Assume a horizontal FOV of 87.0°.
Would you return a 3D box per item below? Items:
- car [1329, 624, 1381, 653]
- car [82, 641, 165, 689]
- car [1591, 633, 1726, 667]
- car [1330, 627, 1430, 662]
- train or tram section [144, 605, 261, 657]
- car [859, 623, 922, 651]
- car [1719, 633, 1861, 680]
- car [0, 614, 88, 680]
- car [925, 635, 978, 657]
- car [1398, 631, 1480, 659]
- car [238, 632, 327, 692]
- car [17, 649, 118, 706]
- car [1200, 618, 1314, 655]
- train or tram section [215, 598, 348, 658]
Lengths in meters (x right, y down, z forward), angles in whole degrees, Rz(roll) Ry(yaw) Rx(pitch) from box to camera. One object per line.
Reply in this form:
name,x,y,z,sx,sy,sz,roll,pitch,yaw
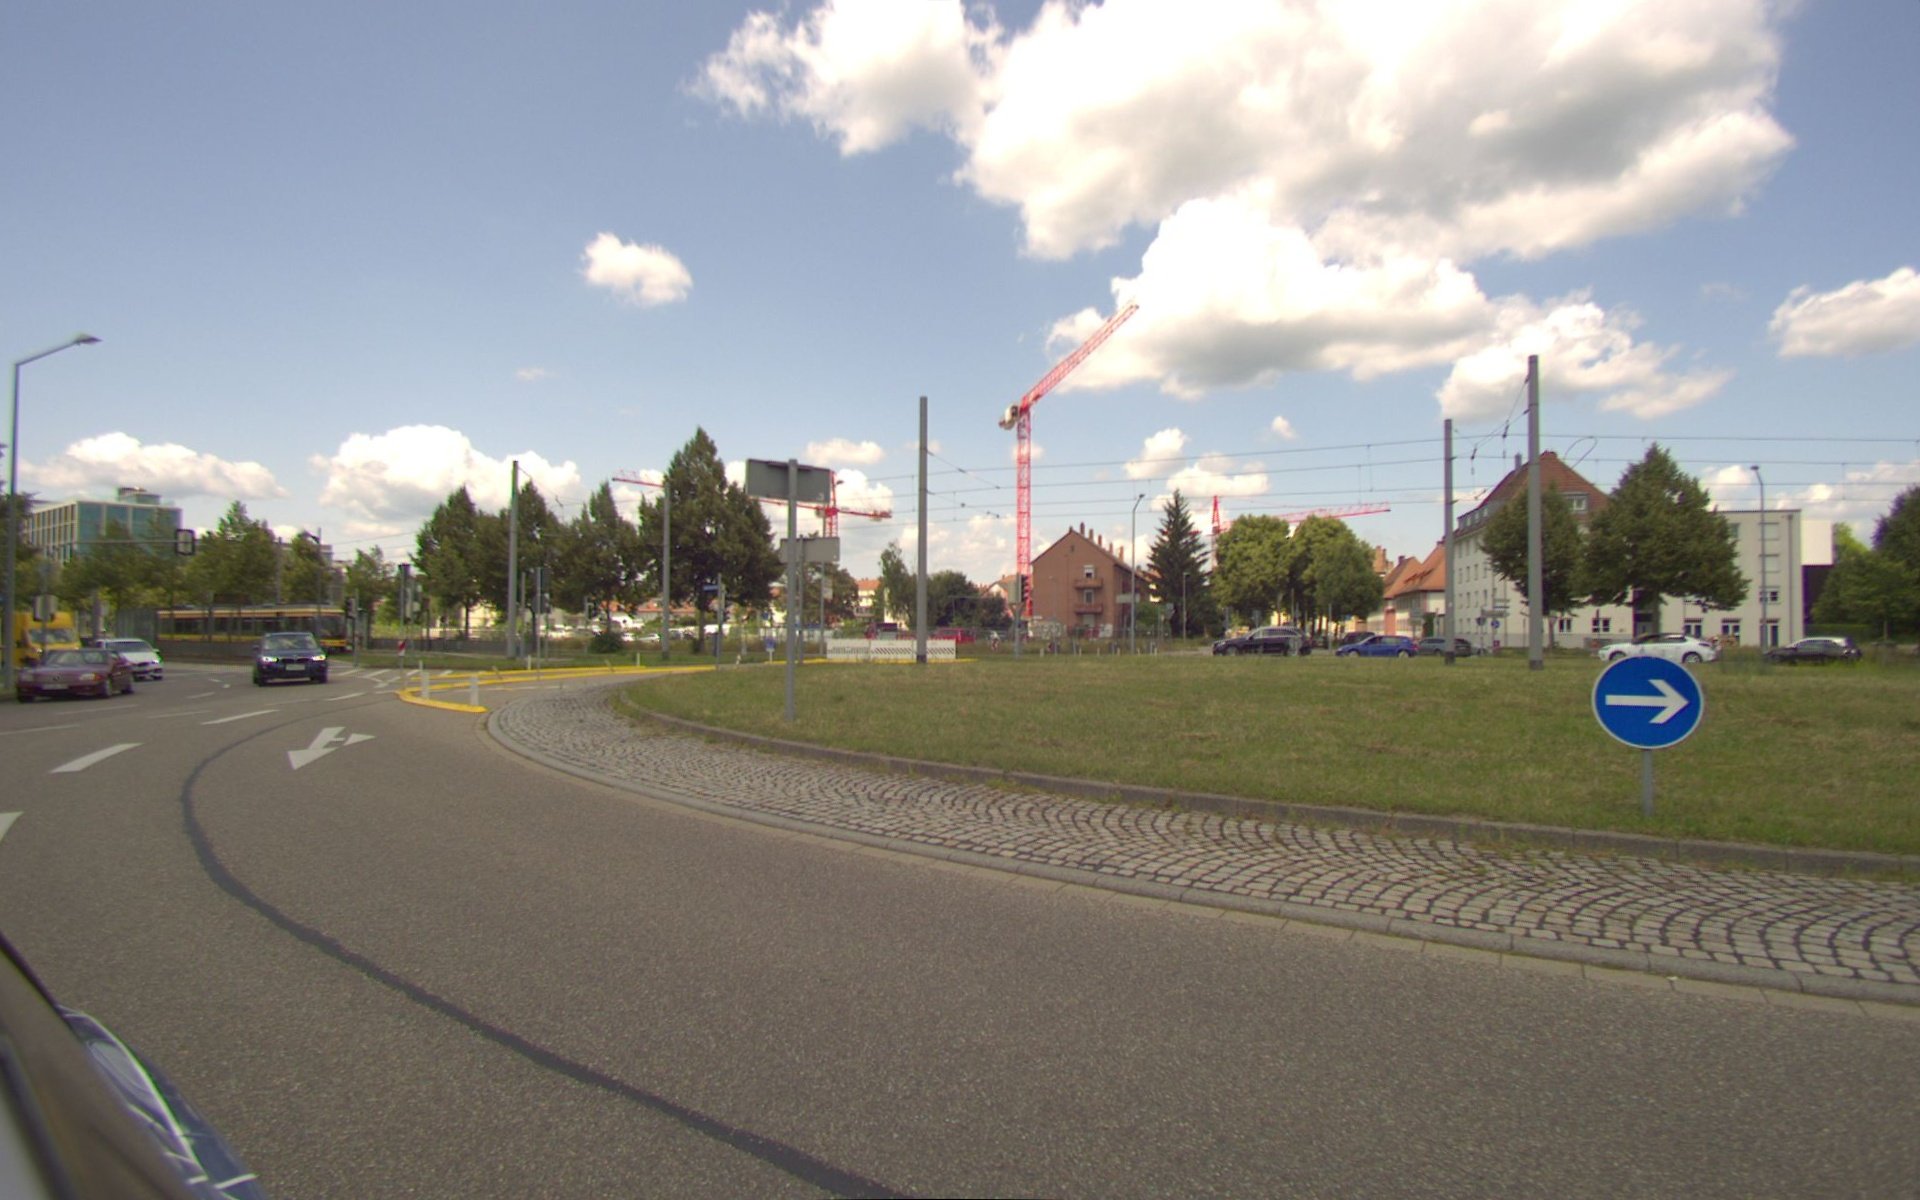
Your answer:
car,29.603,2.877,75.960,1.972,2.029,4.724,-1,-2,0
car,-31.430,2.391,37.996,4.124,1.611,1.653,-2,-1,40
car,29.101,2.067,42.231,1.970,1.339,4.315,1,-3,-44
car,22.744,2.425,54.980,4.680,1.805,1.840,-1,-2,14
train or tram section,-57.468,2.399,76.552,14.630,3.666,2.663,-2,-2,35
car,-5.814,3.089,83.835,2.354,2.214,6.858,1,-2,-31
car,37.666,2.525,46.024,1.970,2.029,4.730,1,-3,-43
car,-43.609,2.153,47.620,7.239,2.875,2.258,-1,-2,36
car,-0.779,3.964,88.295,2.053,1.866,5.197,1,-2,-35
car,30.402,2.816,64.405,2.032,1.639,4.955,-2,-1,-12
car,-21.335,1.880,31.803,1.748,1.611,4.133,-1,0,-42
car,-22.938,1.937,26.134,1.648,1.271,4.101,1,-2,-37
car,14.255,1.782,48.786,5.014,1.687,1.994,-1,-2,10
train or tram section,-46.079,1.978,68.467,13.445,3.768,2.817,-2,-2,35
